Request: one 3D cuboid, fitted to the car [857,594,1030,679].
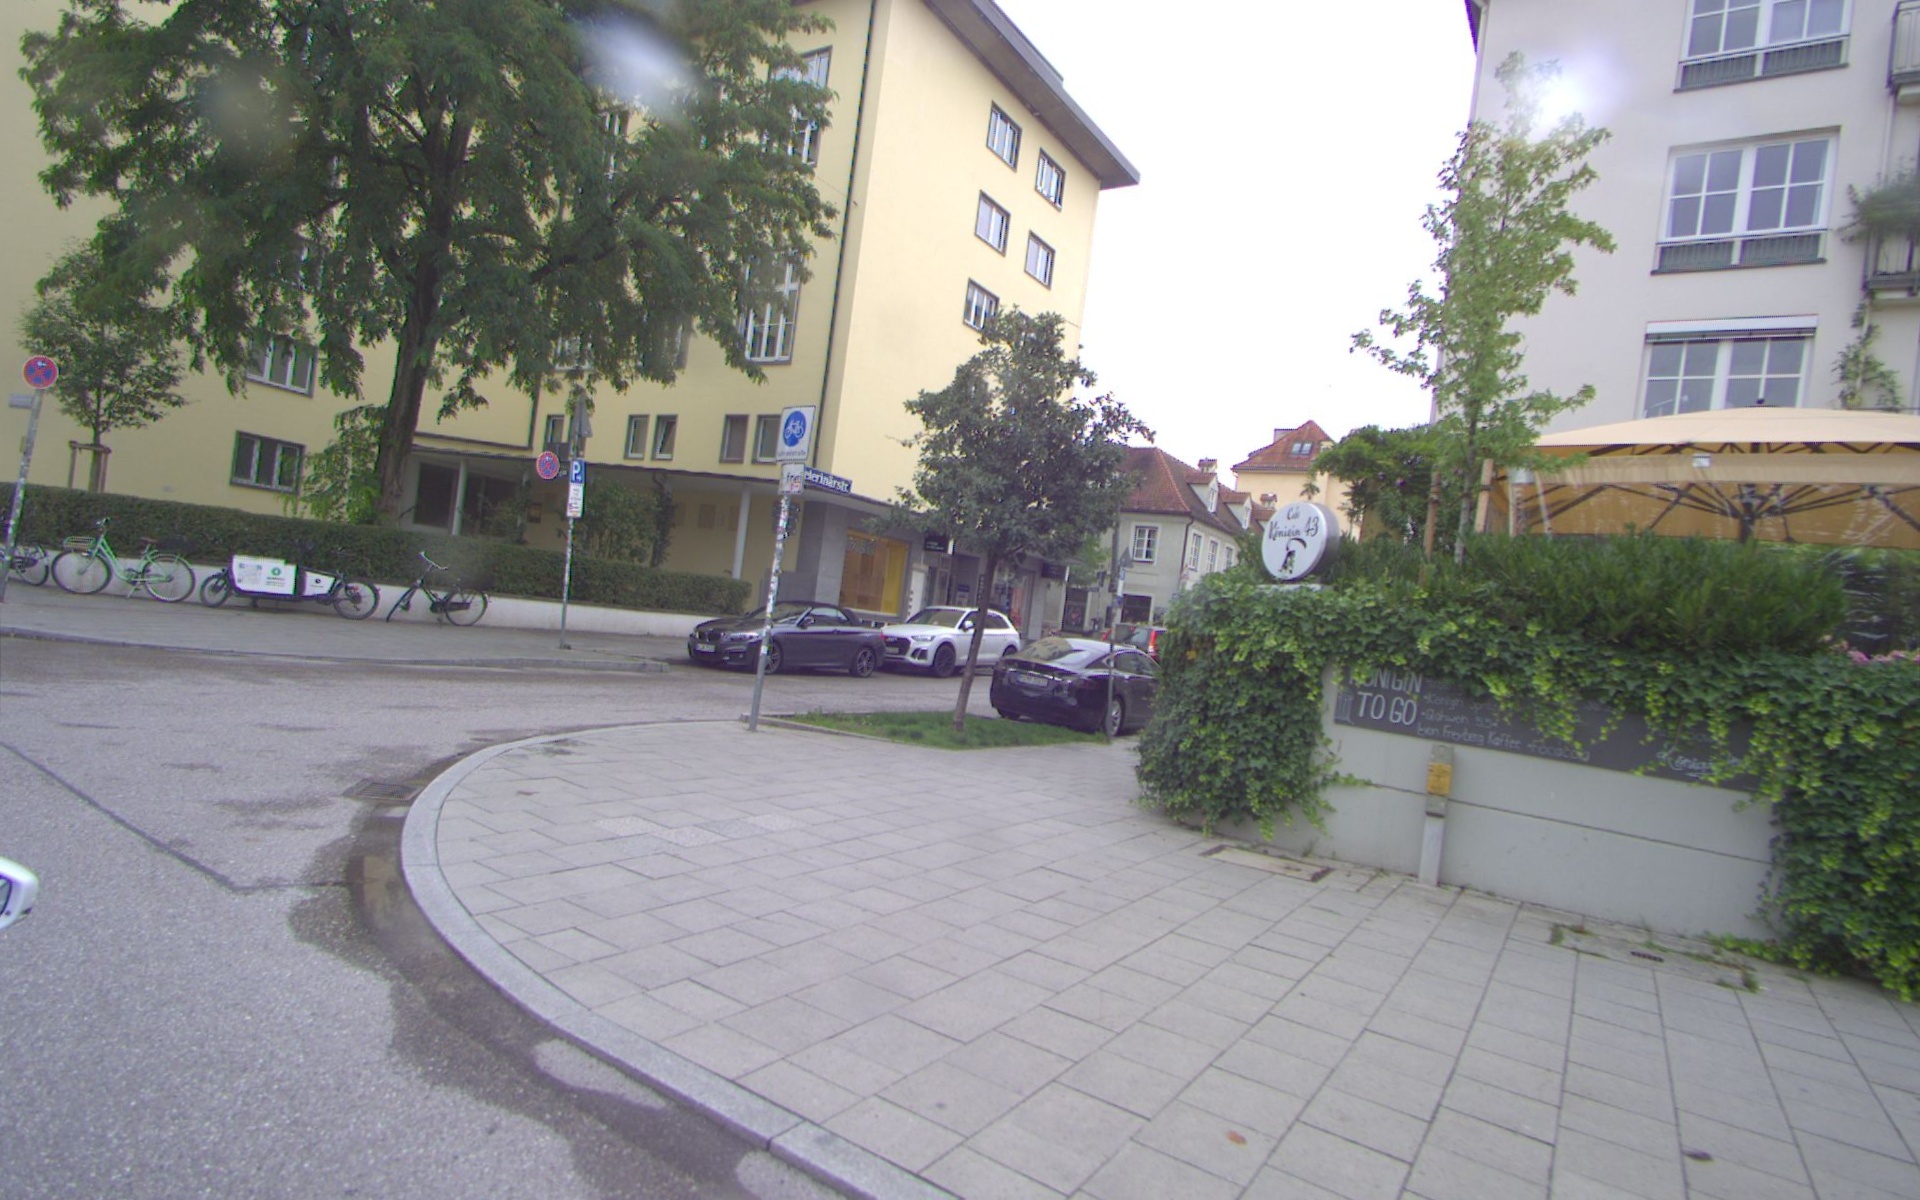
[{"bbox_3d":[-0.285,0.915,23.814,1.821,1.654,4.270,6,-1,35],"label":"car"}]

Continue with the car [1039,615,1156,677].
[{"bbox_3d":[4.430,1.500,31.890,1.821,1.654,4.270,6,-1,35],"label":"car"}]

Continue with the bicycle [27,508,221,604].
[{"bbox_3d":[-12.473,-0.638,15.058,2.178,1.130,0.609,7,0,-6],"label":"bicycle"}]

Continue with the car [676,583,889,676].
[{"bbox_3d":[-3.307,0.624,19.422,1.581,1.453,3.976,6,-1,36],"label":"car"}]

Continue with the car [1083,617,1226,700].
[{"bbox_3d":[5.071,1.508,25.780,1.969,1.715,4.368,7,1,33],"label":"car"}]

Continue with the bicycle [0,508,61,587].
[{"bbox_3d":[-14.912,-0.881,15.453,2.176,1.086,0.610,7,1,19],"label":"bicycle"}]

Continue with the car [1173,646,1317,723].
[{"bbox_3d":[6.536,1.872,22.738,1.820,1.348,4.368,7,1,33],"label":"car"}]

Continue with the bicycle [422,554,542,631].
[{"bbox_3d":[-8.464,-0.113,17.863,0.601,1.163,1.733,7,-1,40],"label":"bicycle"}]

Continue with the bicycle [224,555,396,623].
[{"bbox_3d":[-10.240,-0.166,15.921,2.197,0.788,0.604,8,-1,-34],"label":"bicycle"}]

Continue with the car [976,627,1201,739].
[{"bbox_3d":[2.236,1.305,16.372,1.820,1.348,4.368,7,1,33],"label":"car"}]
